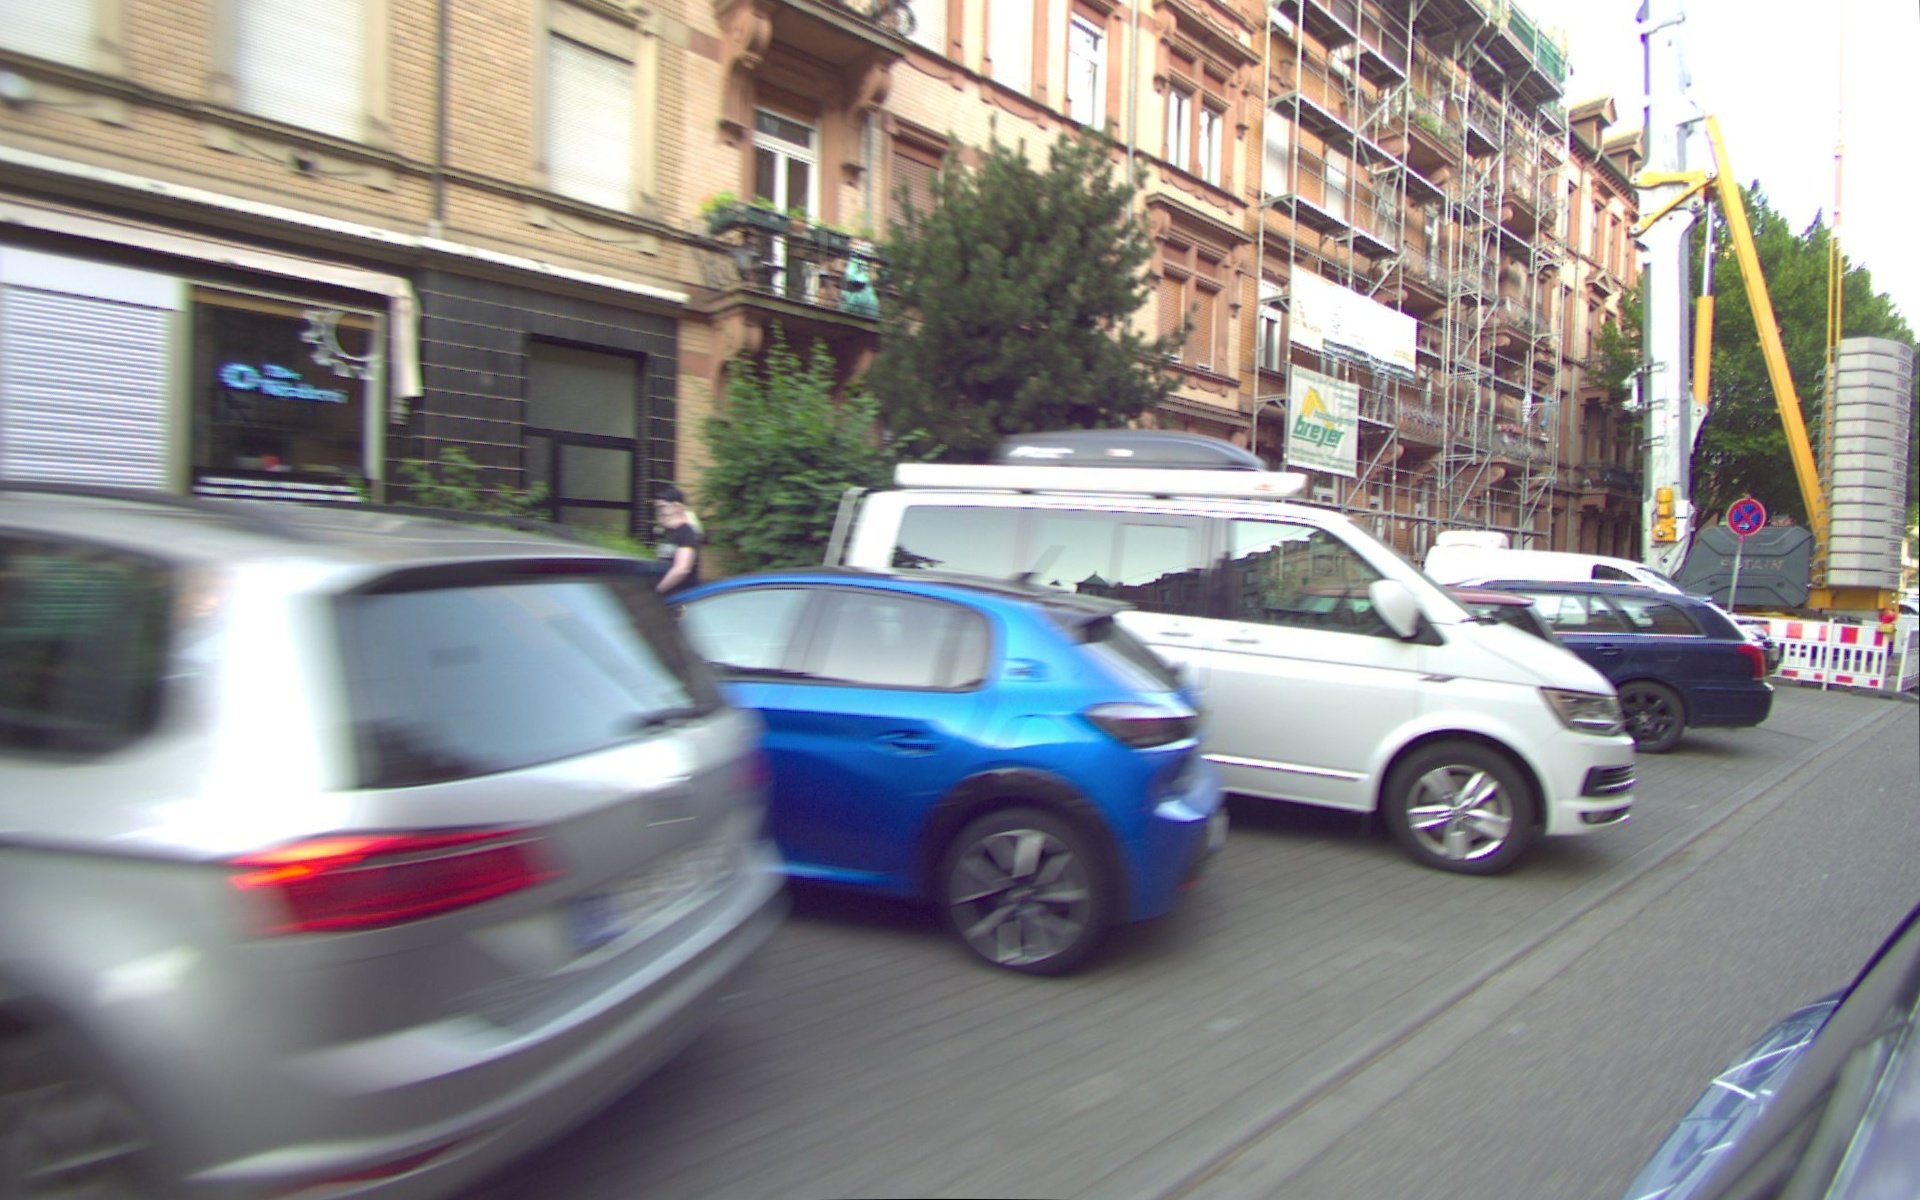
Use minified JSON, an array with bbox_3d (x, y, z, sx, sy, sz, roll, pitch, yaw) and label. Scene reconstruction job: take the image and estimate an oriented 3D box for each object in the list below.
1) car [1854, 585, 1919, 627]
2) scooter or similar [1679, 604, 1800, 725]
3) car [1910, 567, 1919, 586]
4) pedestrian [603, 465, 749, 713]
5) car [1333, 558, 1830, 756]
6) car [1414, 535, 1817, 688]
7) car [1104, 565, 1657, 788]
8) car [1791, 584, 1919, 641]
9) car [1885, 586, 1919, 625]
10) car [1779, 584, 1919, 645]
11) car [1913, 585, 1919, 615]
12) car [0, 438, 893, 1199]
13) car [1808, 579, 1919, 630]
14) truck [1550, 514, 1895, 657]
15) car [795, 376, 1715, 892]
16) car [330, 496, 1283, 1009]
[{"bbox_3d":[40.622,0.312,42.774,3.799,1.584,1.663,5,4,27],"label":"car"},{"bbox_3d":[8.552,0.666,11.164,0.650,1.164,1.472,4,2,24],"label":"scooter or similar"},{"bbox_3d":[79.079,-1.765,81.106,3.789,1.536,1.667,4,4,21],"label":"car"},{"bbox_3d":[-2.174,-0.109,7.744,0.813,1.770,0.685,-1,5,-45],"label":"pedestrian"},{"bbox_3d":[5.794,0.430,10.029,3.824,1.535,1.834,3,2,23],"label":"car"},{"bbox_3d":[10.531,0.052,16.672,1.866,1.979,5.184,2,3,-42],"label":"car"},{"bbox_3d":[3.245,0.491,8.471,3.814,1.425,1.751,3,3,16],"label":"car"},{"bbox_3d":[28.360,0.409,30.896,4.108,1.506,1.825,4,3,13],"label":"car"},{"bbox_3d":[43.061,0.335,43.968,3.786,1.584,1.668,4,4,19],"label":"car"},{"bbox_3d":[26.211,0.433,28.895,3.938,1.506,1.678,4,3,15],"label":"car"},{"bbox_3d":[51.126,0.149,51.164,3.782,1.536,1.670,4,4,16],"label":"car"},{"bbox_3d":[-2.483,0.427,2.936,4.113,1.610,1.875,5,2,18],"label":"car"},{"bbox_3d":[31.881,0.173,34.886,3.589,1.535,1.614,4,3,21],"label":"car"},{"bbox_3d":[18.787,-0.377,25.344,2.478,3.115,6.497,-1,1,-38],"label":"truck"},{"bbox_3d":[1.569,0.034,6.574,4.884,2.391,1.985,3,2,23],"label":"car"},{"bbox_3d":[-0.671,0.398,4.843,4.116,1.610,1.873,3,2,21],"label":"car"}]
